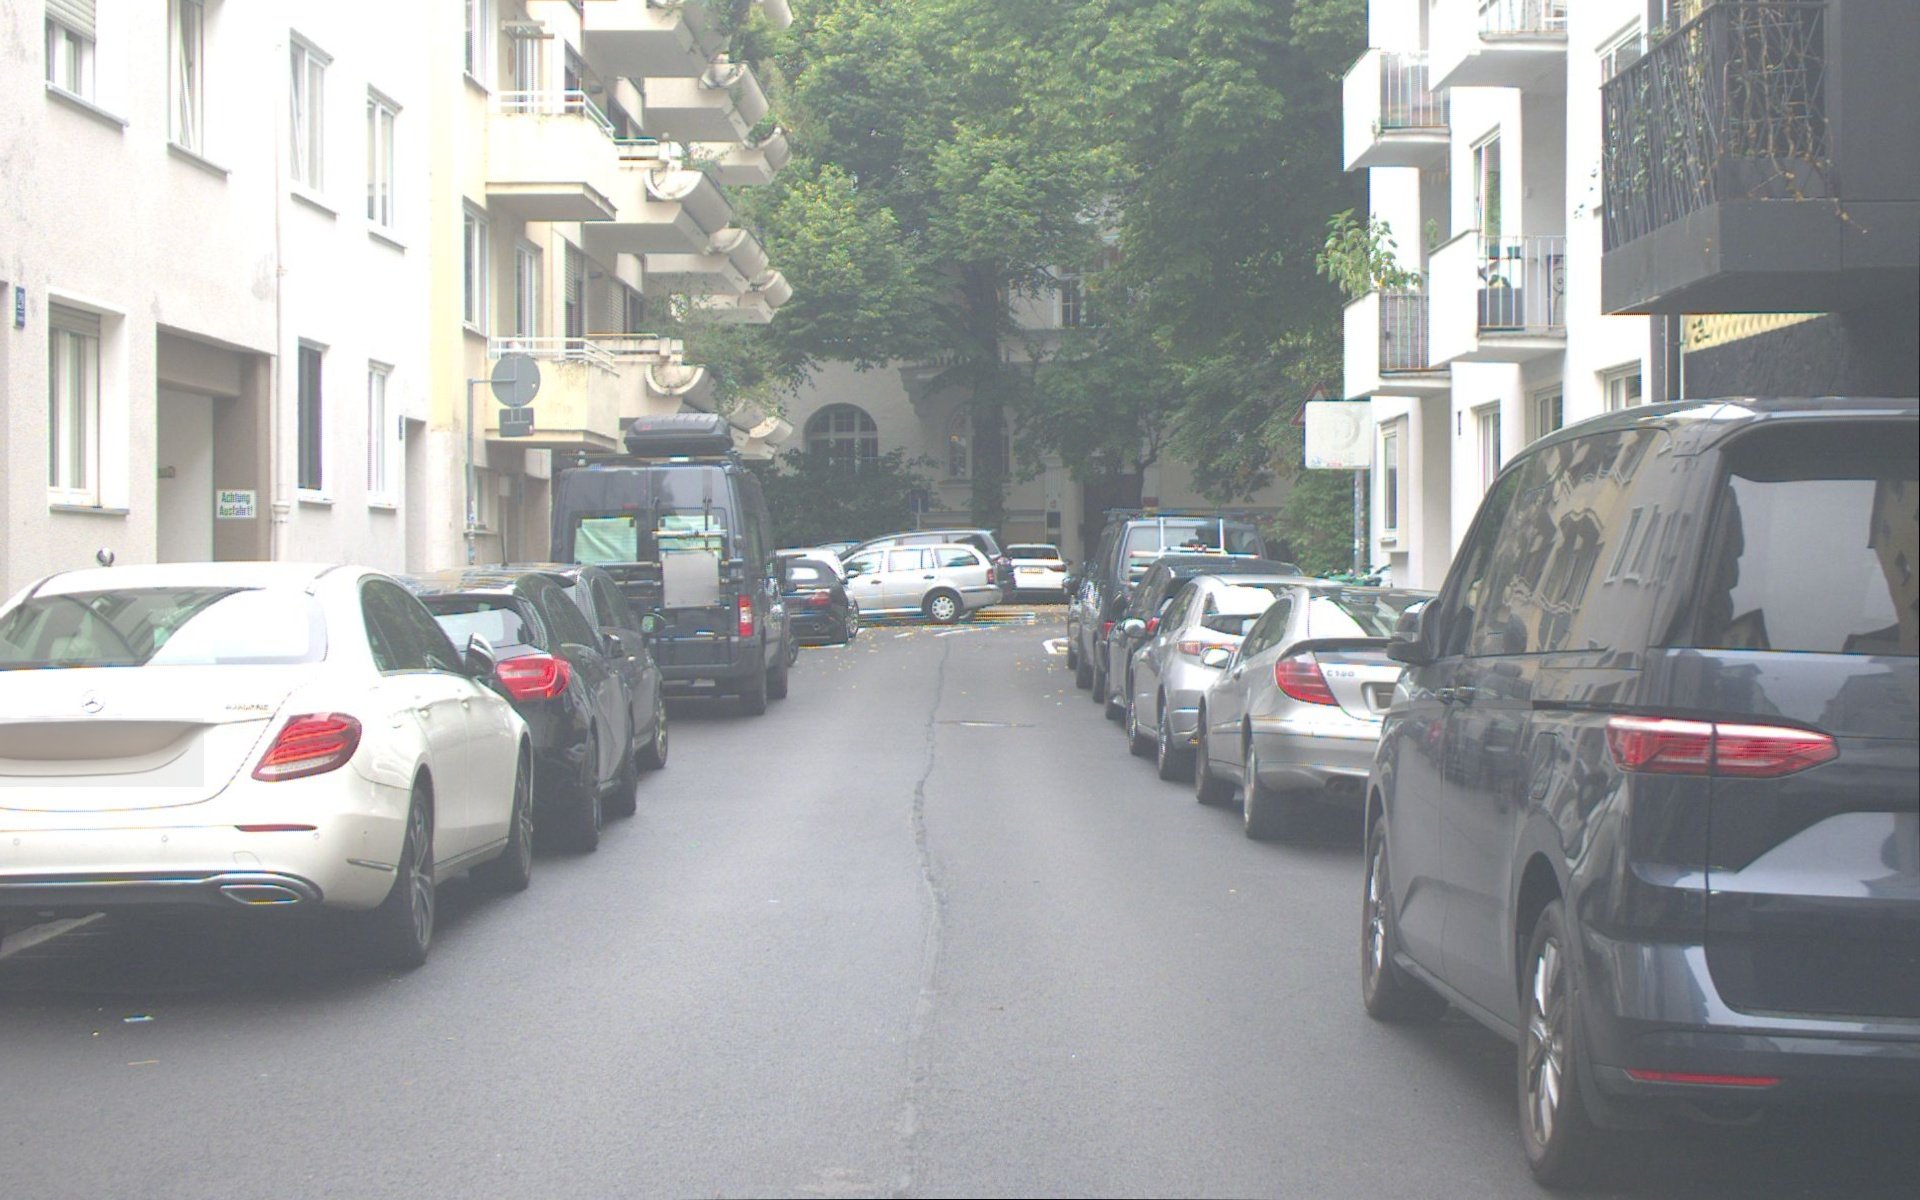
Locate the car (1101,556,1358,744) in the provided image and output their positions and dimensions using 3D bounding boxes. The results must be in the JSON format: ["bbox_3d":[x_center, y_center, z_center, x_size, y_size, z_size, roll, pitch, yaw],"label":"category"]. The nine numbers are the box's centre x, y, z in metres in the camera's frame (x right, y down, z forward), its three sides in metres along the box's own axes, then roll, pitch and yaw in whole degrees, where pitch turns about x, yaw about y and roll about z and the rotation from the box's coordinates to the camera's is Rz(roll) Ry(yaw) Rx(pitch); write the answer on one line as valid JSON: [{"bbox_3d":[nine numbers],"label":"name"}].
[{"bbox_3d":[2.317,0.387,30.632,1.829,1.449,4.416,3,1,-1],"label":"car"}]

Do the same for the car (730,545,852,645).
[{"bbox_3d":[-2.517,-0.098,51.876,1.642,1.379,3.483,-3,1,-1],"label":"car"}]

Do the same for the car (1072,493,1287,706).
[{"bbox_3d":[2.227,-0.039,35.937,1.829,1.992,4.416,3,1,-1],"label":"car"}]

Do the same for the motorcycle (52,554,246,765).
[{"bbox_3d":[-5.485,0.367,23.395,0.680,1.345,2.486,1,1,1],"label":"motorcycle"}]

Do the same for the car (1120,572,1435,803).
[{"bbox_3d":[2.269,0.578,25.660,1.829,1.449,4.416,3,1,-1],"label":"car"}]

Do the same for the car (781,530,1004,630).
[{"bbox_3d":[-1.211,-0.368,61.804,3.885,1.579,1.648,-3,1,-1],"label":"car"}]

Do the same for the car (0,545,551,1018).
[{"bbox_3d":[-2.812,0.571,13.494,1.777,1.482,4.519,-3,1,0],"label":"car"}]

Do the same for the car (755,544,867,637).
[{"bbox_3d":[-2.393,-0.173,55.813,1.642,1.379,3.483,-3,1,-1],"label":"car"}]

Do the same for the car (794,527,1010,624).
[{"bbox_3d":[-1.083,-0.460,63.756,3.885,1.579,1.648,-3,1,-1],"label":"car"}]

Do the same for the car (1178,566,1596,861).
[{"bbox_3d":[2.409,0.583,20.491,1.829,1.449,4.416,3,1,-1],"label":"car"}]

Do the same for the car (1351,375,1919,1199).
[{"bbox_3d":[2.285,0.458,9.537,1.829,1.903,4.416,2,1,0],"label":"car"}]

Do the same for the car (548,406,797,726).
[{"bbox_3d":[-2.699,-0.343,33.261,1.936,2.792,4.533,-3,1,-1],"label":"car"}]

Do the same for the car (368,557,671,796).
[{"bbox_3d":[-2.962,0.473,23.657,1.642,1.448,3.162,-3,1,-1],"label":"car"}]

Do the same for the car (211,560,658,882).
[{"bbox_3d":[-2.713,0.560,18.615,1.777,1.448,4.046,-3,1,-1],"label":"car"}]

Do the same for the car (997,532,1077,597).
[{"bbox_3d":[1.737,-0.823,78.824,1.642,1.379,3.746,-3,1,-1],"label":"car"}]
